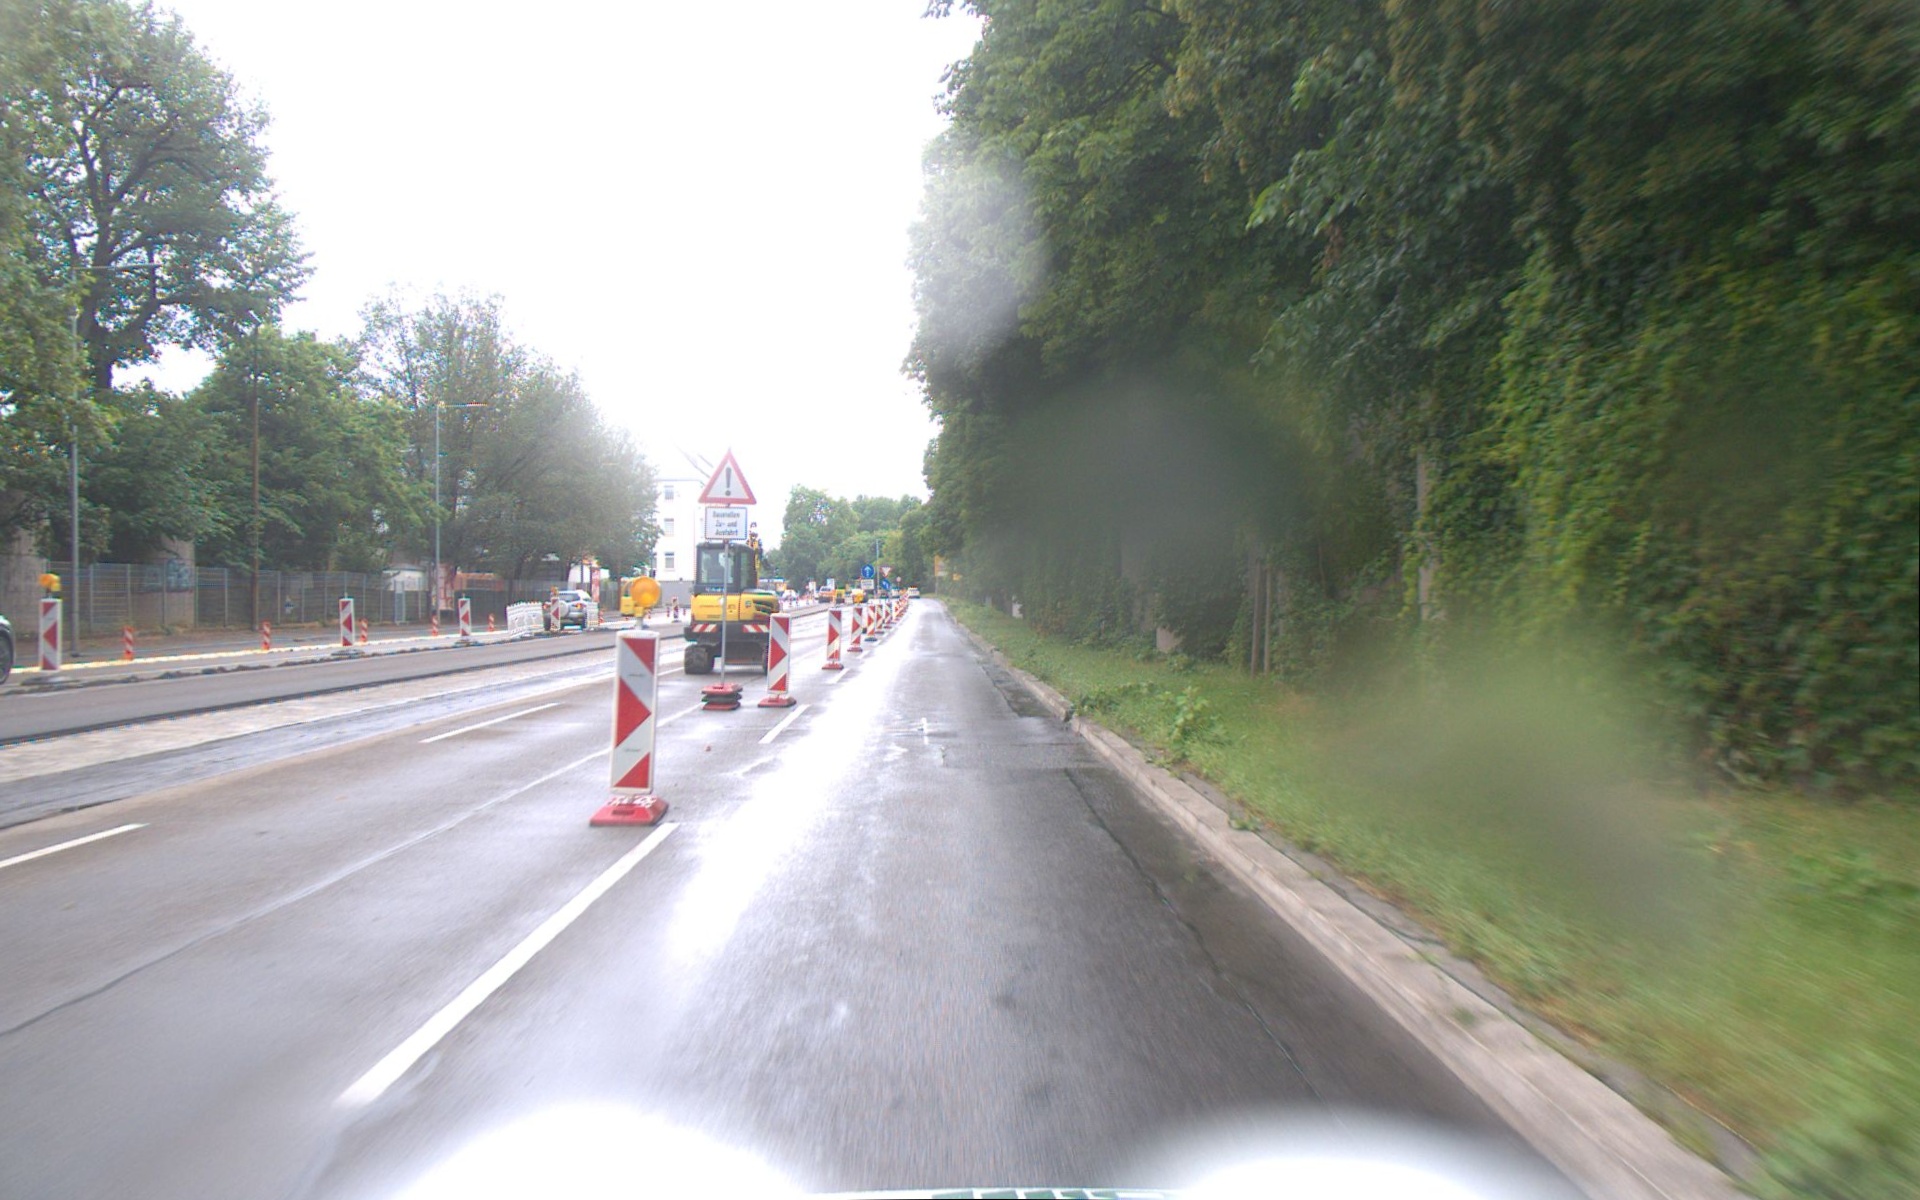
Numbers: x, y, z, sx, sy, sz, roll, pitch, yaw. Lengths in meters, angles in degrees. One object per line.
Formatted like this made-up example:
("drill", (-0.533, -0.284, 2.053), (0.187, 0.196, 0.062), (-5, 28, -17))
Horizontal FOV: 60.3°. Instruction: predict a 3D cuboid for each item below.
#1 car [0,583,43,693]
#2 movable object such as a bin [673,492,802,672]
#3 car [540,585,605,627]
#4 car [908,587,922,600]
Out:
("car", (-15.230, 0.548, 23.189), (2.035, 1.641, 5.054), (1, 0, -2))
("movable object such as a bin", (-4.531, -0.330, 34.595), (1.953, 3.426, 5.981), (1, 0, -1))
("car", (-16.204, 0.263, 69.308), (1.817, 1.677, 3.999), (1, 0, -1))
("car", (-6.117, -0.927, 225.384), (1.953, 1.702, 3.999), (1, 0, -1))
